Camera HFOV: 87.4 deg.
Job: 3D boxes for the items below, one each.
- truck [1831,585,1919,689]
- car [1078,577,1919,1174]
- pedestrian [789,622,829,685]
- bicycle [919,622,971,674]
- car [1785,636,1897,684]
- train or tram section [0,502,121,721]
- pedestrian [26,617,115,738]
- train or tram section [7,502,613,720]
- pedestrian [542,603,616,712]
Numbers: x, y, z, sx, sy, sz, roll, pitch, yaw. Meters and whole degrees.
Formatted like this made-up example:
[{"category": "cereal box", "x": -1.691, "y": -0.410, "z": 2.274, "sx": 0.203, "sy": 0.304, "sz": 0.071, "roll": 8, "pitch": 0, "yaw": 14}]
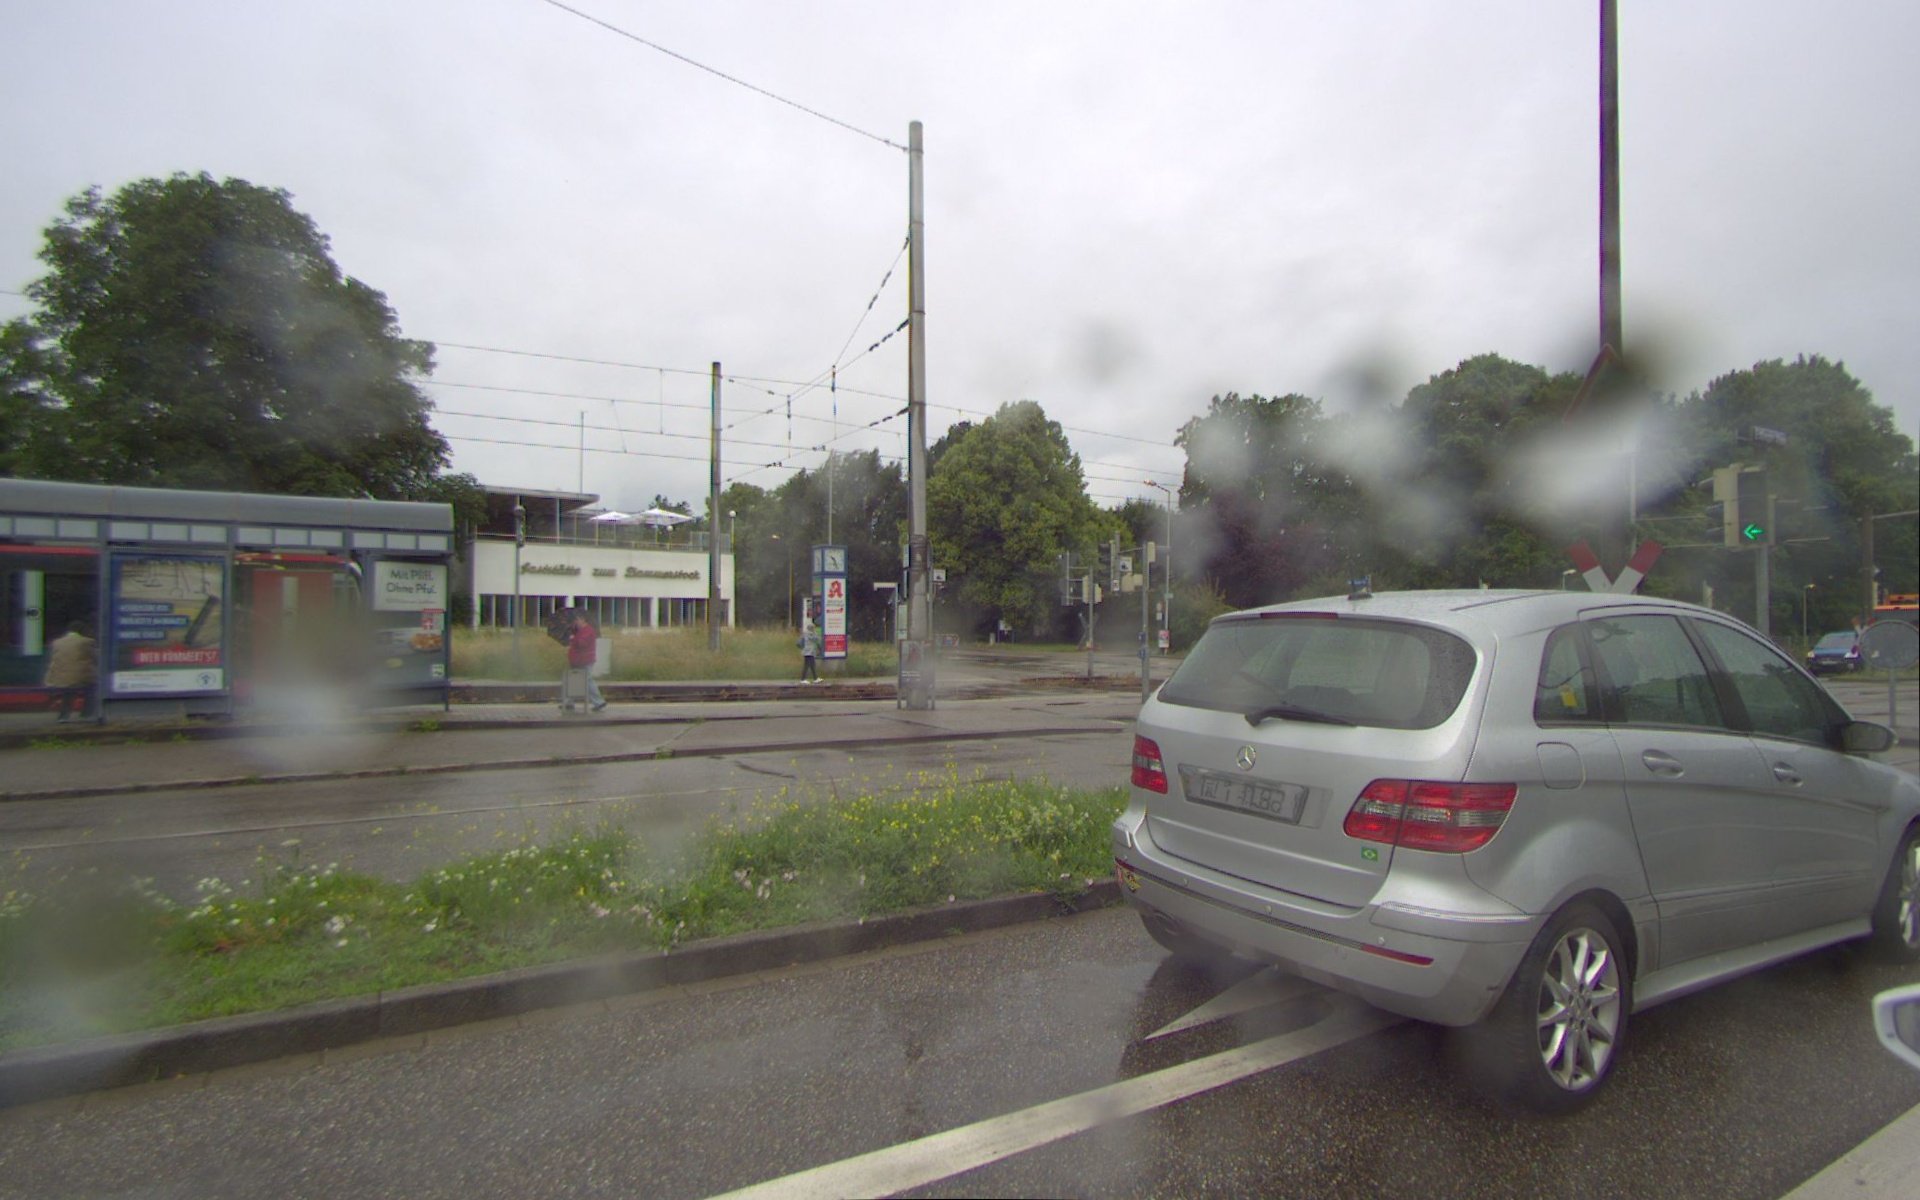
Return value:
[{"category": "truck", "x": 42.790, "y": 1.644, "z": 44.484, "sx": 10.289, "sy": 4.223, "sz": 3.367, "roll": 2, "pitch": 0, "yaw": -31}, {"category": "car", "x": 2.621, "y": 0.774, "z": 4.413, "sx": 3.966, "sy": 1.564, "sz": 1.728, "roll": 1, "pitch": -1, "yaw": -31}, {"category": "pedestrian", "x": -4.121, "y": 1.448, "z": 27.399, "sx": 0.795, "sy": 1.679, "sz": 0.776, "roll": 2, "pitch": 0, "yaw": -30}, {"category": "bicycle", "x": -0.519, "y": 1.645, "z": 34.811, "sx": 1.714, "sy": 1.784, "sz": 0.637, "roll": 1, "pitch": -1, "yaw": -30}, {"category": "car", "x": 34.771, "y": 2.336, "z": 39.610, "sx": 4.473, "sy": 1.732, "sz": 1.984, "roll": 2, "pitch": 0, "yaw": -30}, {"category": "train or tram section", "x": -19.208, "y": 0.157, "z": 15.404, "sx": 9.168, "sy": 3.435, "sz": 3.517, "roll": 1, "pitch": -2, "yaw": -30}, {"category": "pedestrian", "x": -11.244, "y": 0.958, "z": 12.722, "sx": 0.691, "sy": 1.472, "sz": 0.623, "roll": 1, "pitch": -1, "yaw": -28}, {"category": "train or tram section", "x": -11.903, "y": 0.293, "z": 19.711, "sx": 9.168, "sy": 3.434, "sz": 3.517, "roll": 1, "pitch": -2, "yaw": -30}, {"category": "pedestrian", "x": -6.271, "y": 0.923, "z": 16.521, "sx": 0.985, "sy": 1.698, "sz": 0.920, "roll": 2, "pitch": 0, "yaw": -30}]
